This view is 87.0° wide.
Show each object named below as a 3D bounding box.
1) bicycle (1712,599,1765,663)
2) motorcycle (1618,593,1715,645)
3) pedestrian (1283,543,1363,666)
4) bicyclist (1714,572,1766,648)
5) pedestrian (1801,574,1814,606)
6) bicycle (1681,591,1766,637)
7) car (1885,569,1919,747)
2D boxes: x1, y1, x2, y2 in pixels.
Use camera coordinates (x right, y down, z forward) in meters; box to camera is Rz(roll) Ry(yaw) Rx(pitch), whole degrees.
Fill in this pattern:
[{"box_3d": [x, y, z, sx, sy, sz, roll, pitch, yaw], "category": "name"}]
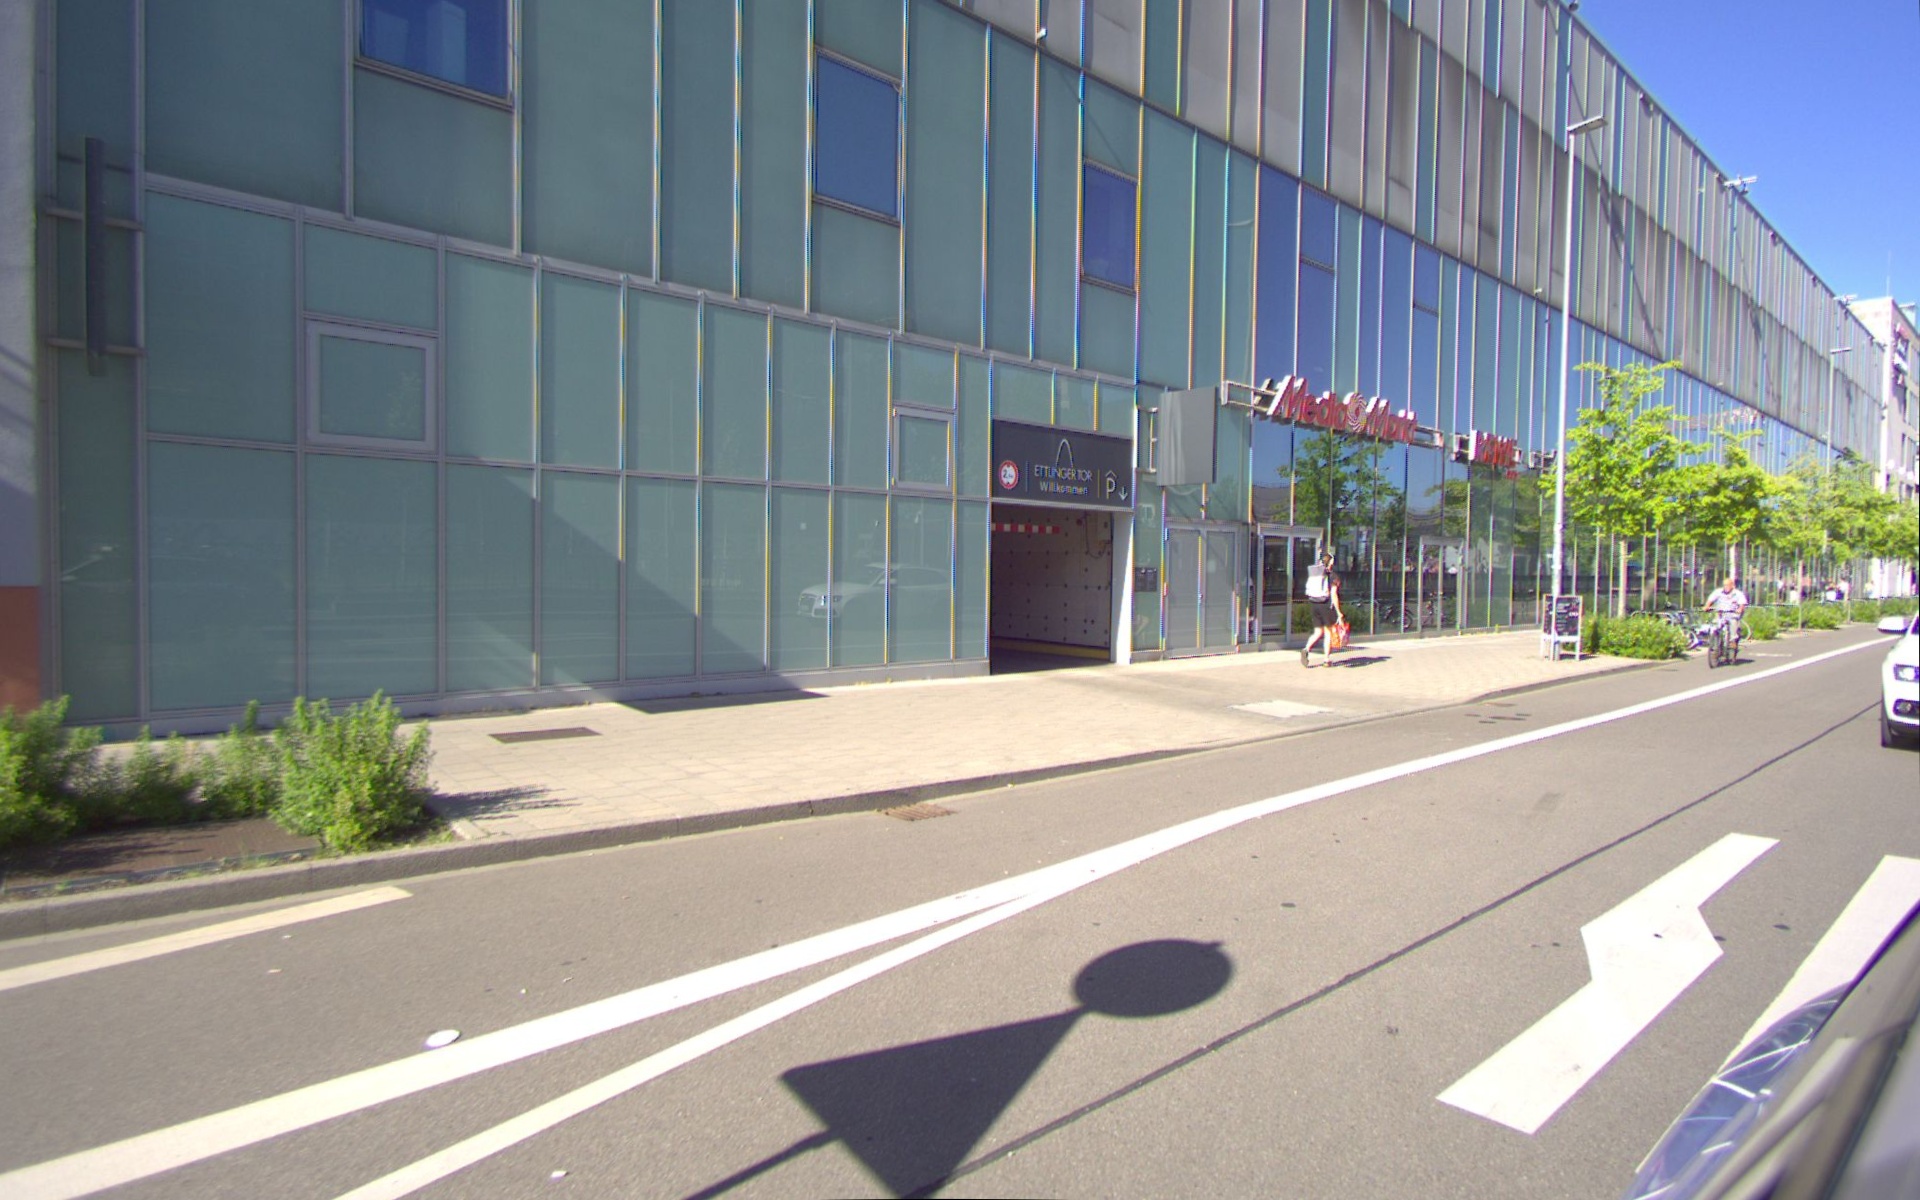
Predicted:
[{"box_3d": [15.568, 0.594, 20.210, 0.608, 1.165, 1.956, -1, 0, 44], "category": "bicycle"}, {"box_3d": [16.952, 0.435, 24.325, 0.630, 1.095, 1.886, 0, 4, -17], "category": "motorcycle"}, {"box_3d": [6.090, 0.045, 17.007, 0.880, 1.946, 0.877, -3, 6, -41], "category": "pedestrian"}, {"box_3d": [15.580, 0.187, 20.220, 0.754, 1.480, 0.578, 1, 2, 45], "category": "bicyclist"}, {"box_3d": [46.625, -0.555, 55.683, 0.339, 1.712, 0.450, 0, 1, -41], "category": "pedestrian"}, {"box_3d": [20.493, 0.357, 27.210, 1.729, 1.075, 0.462, 5, 3, 35], "category": "bicycle"}, {"box_3d": [10.852, 0.520, 10.236, 3.933, 1.654, 1.931, -1, 1, -43], "category": "car"}]
